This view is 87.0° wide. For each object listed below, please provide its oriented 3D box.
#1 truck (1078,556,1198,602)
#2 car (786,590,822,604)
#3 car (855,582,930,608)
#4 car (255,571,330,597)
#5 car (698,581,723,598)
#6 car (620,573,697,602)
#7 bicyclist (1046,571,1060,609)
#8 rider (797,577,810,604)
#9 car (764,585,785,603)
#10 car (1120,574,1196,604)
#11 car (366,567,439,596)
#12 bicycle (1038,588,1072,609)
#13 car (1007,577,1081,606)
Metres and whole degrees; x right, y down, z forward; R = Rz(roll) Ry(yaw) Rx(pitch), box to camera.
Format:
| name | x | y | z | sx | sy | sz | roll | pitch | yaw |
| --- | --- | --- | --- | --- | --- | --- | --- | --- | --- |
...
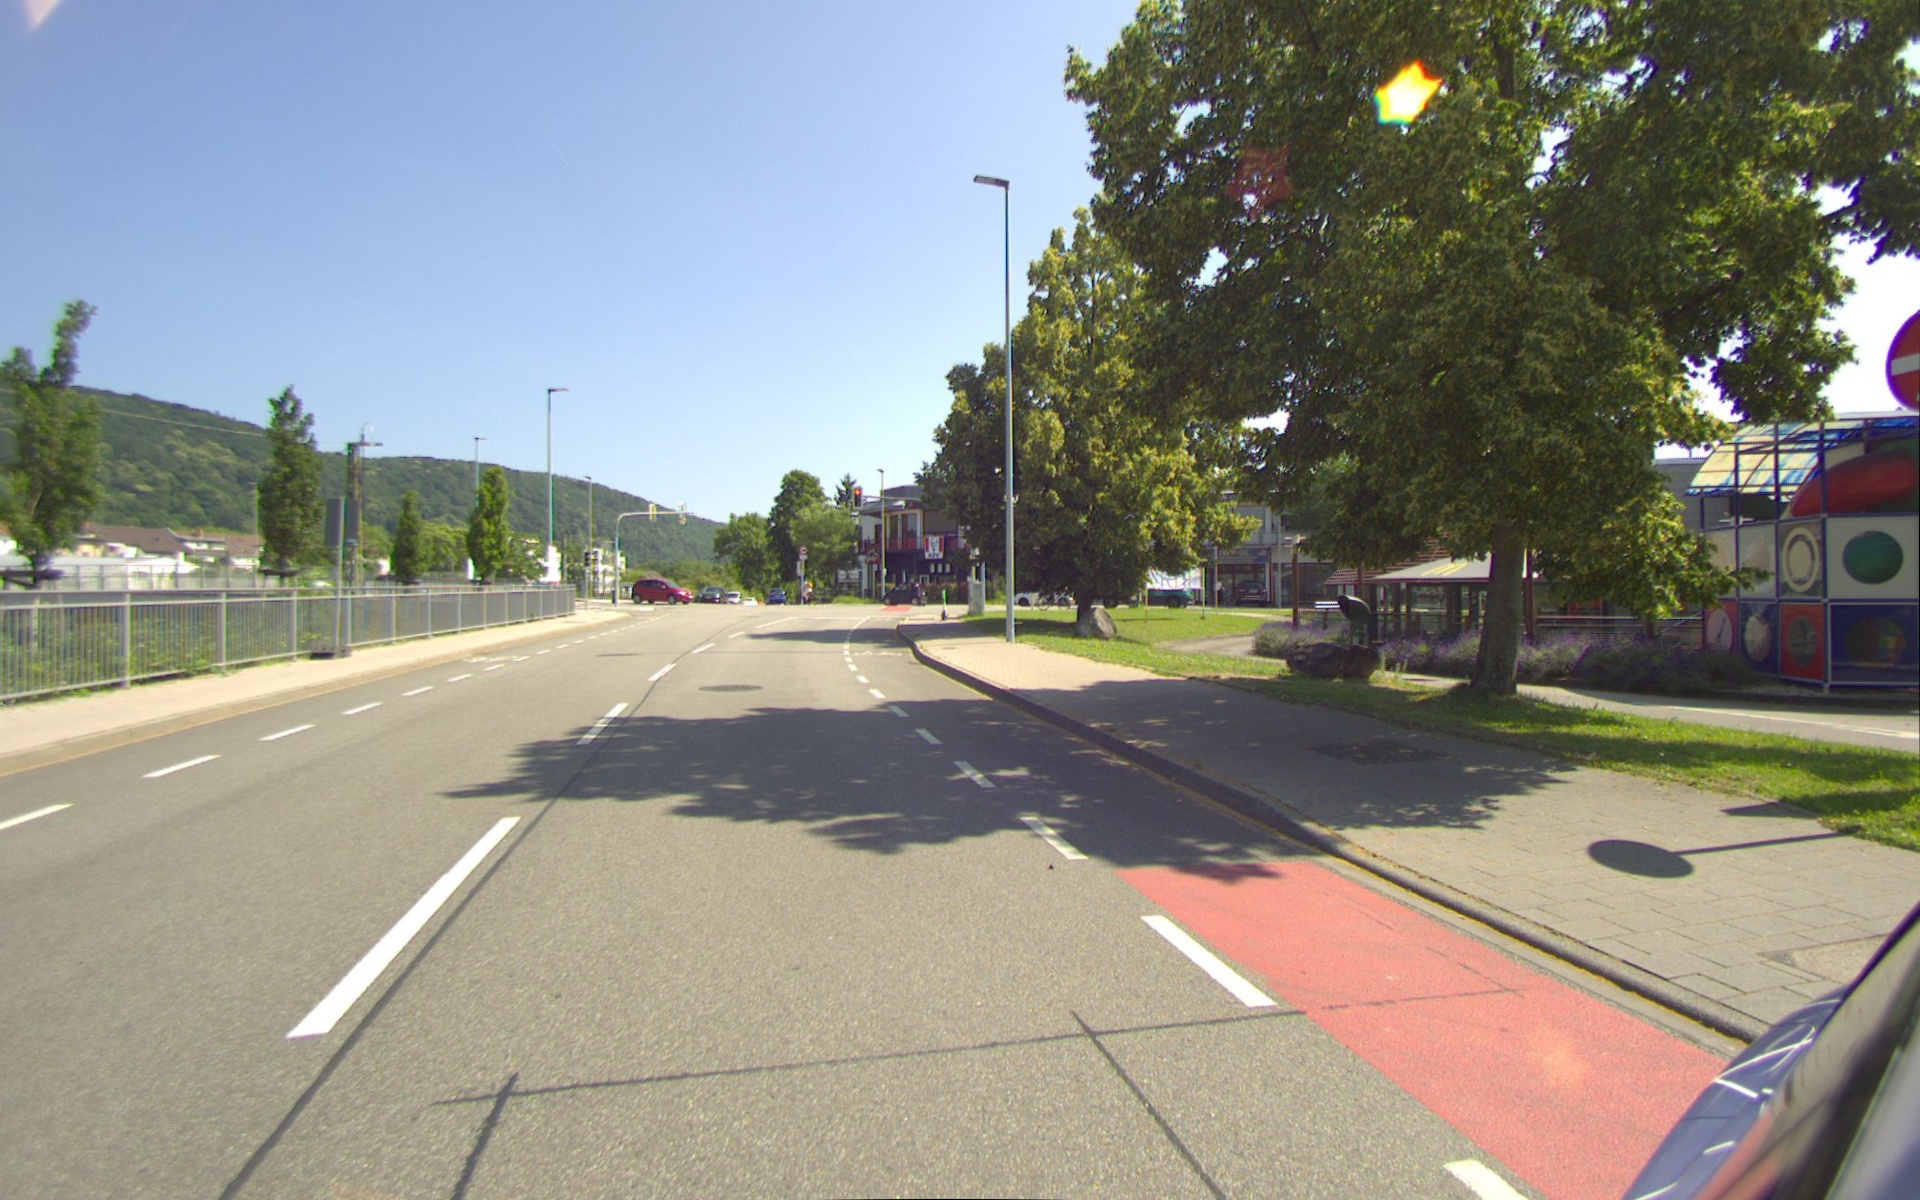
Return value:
| name | x | y | z | sx | sy | sz | roll | pitch | yaw |
| --- | --- | --- | --- | --- | --- | --- | --- | --- | --- |
| truck | 9.619 | -1.113 | 54.648 | 6.292 | 2.405 | 2.375 | 0 | 0 | 14 |
| car | -10.557 | -0.207 | 68.383 | 2.348 | 0.912 | 0.574 | 0 | 4 | 14 |
| car | -4.234 | -0.344 | 63.620 | 4.307 | 1.509 | 1.825 | 0 | 4 | 15 |
| car | -46.779 | -1.124 | 70.929 | 4.704 | 1.671 | 1.823 | 0 | 4 | 18 |
| car | -19.941 | -0.847 | 80.986 | 1.578 | 1.271 | 3.688 | 0 | 1 | -7 |
| car | -19.005 | -0.796 | 63.770 | 4.304 | 1.699 | 1.826 | 0 | 4 | 13 |
| bicyclist | 4.808 | -0.503 | 52.343 | 0.647 | 1.919 | 0.550 | 1 | 3 | 15 |
| rider | -10.555 | -0.645 | 68.347 | 0.675 | 1.835 | 0.546 | 0 | 4 | 14 |
| car | -16.365 | -0.571 | 89.104 | 1.577 | 1.555 | 3.691 | 0 | 1 | -15 |
| car | 11.746 | -0.678 | 59.925 | 4.306 | 1.646 | 1.825 | 0 | 4 | 14 |
| car | -38.104 | -1.272 | 69.231 | 4.310 | 1.871 | 1.824 | 0 | 4 | 17 |
| bicycle | 4.922 | -0.071 | 52.337 | 1.701 | 1.055 | 0.580 | 1 | 3 | 15 |
| car | 5.157 | -0.549 | 61.827 | 4.307 | 1.646 | 1.825 | 0 | 4 | 15 |
